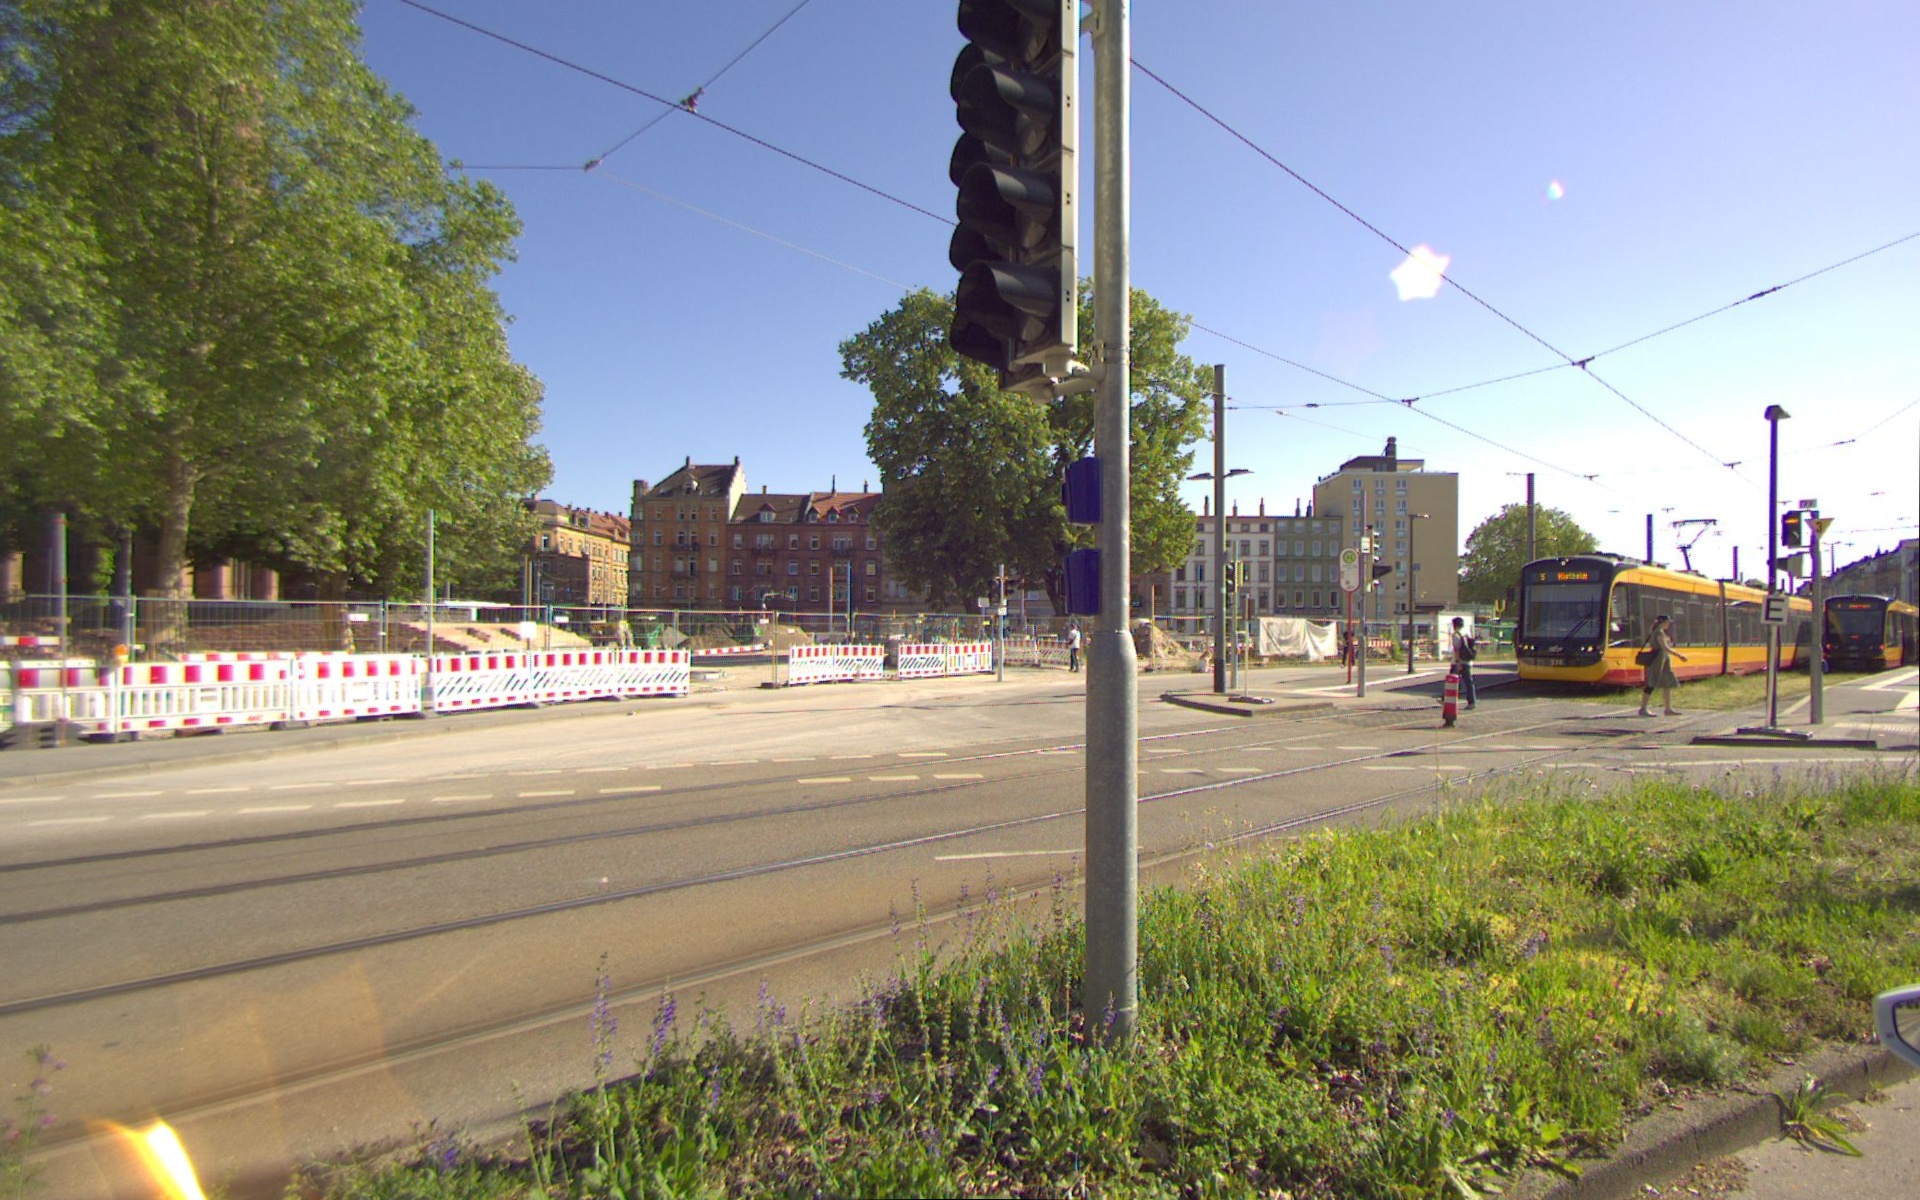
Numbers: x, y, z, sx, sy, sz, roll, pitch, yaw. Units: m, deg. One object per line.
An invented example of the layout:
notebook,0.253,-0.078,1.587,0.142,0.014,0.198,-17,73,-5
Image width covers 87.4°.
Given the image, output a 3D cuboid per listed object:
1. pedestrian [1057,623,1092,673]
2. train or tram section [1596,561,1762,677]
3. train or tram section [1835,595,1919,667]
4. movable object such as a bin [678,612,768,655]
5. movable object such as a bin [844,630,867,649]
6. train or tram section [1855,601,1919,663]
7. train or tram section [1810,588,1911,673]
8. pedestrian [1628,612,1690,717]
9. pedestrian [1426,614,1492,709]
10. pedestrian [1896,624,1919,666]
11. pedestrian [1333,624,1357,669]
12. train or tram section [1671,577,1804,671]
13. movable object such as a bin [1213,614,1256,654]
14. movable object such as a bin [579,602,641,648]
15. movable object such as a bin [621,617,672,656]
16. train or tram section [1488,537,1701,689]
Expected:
pedestrian,4.129,1.720,36.172,0.855,1.791,0.966,1,-2,-30
train or tram section,25.624,0.714,35.488,10.537,3.554,2.790,2,-1,-43
train or tram section,49.751,1.668,54.313,10.472,3.554,2.843,2,-2,-44
movable object such as a bin,-16.980,2.396,72.196,5.968,2.795,1.894,2,-1,-3
movable object such as a bin,-10.050,3.784,96.847,1.716,1.702,3.802,0,-1,2
train or tram section,57.266,1.942,61.598,10.472,3.554,2.843,2,-1,-44
train or tram section,42.326,1.432,47.051,10.472,3.554,2.843,2,-2,-44
pedestrian,13.015,1.170,18.697,0.888,1.875,0.760,-1,1,39
pedestrian,10.052,1.225,20.251,0.755,1.856,1.006,3,-3,-44
pedestrian,44.182,2.072,46.780,0.756,1.908,0.838,3,-1,-45
pedestrian,15.706,1.880,40.942,0.795,1.791,0.661,2,-2,-45
train or tram section,33.384,1.046,42.908,11.132,3.554,2.790,2,-1,-43
movable object such as a bin,20.641,2.515,75.703,1.798,2.833,3.997,2,-1,-5
movable object such as a bin,-26.331,1.867,75.803,3.060,3.214,5.244,2,-1,-5
movable object such as a bin,-20.080,2.322,64.544,1.857,2.377,4.230,2,-1,0
train or tram section,18.058,0.460,28.156,10.411,3.554,2.789,2,-2,-45
